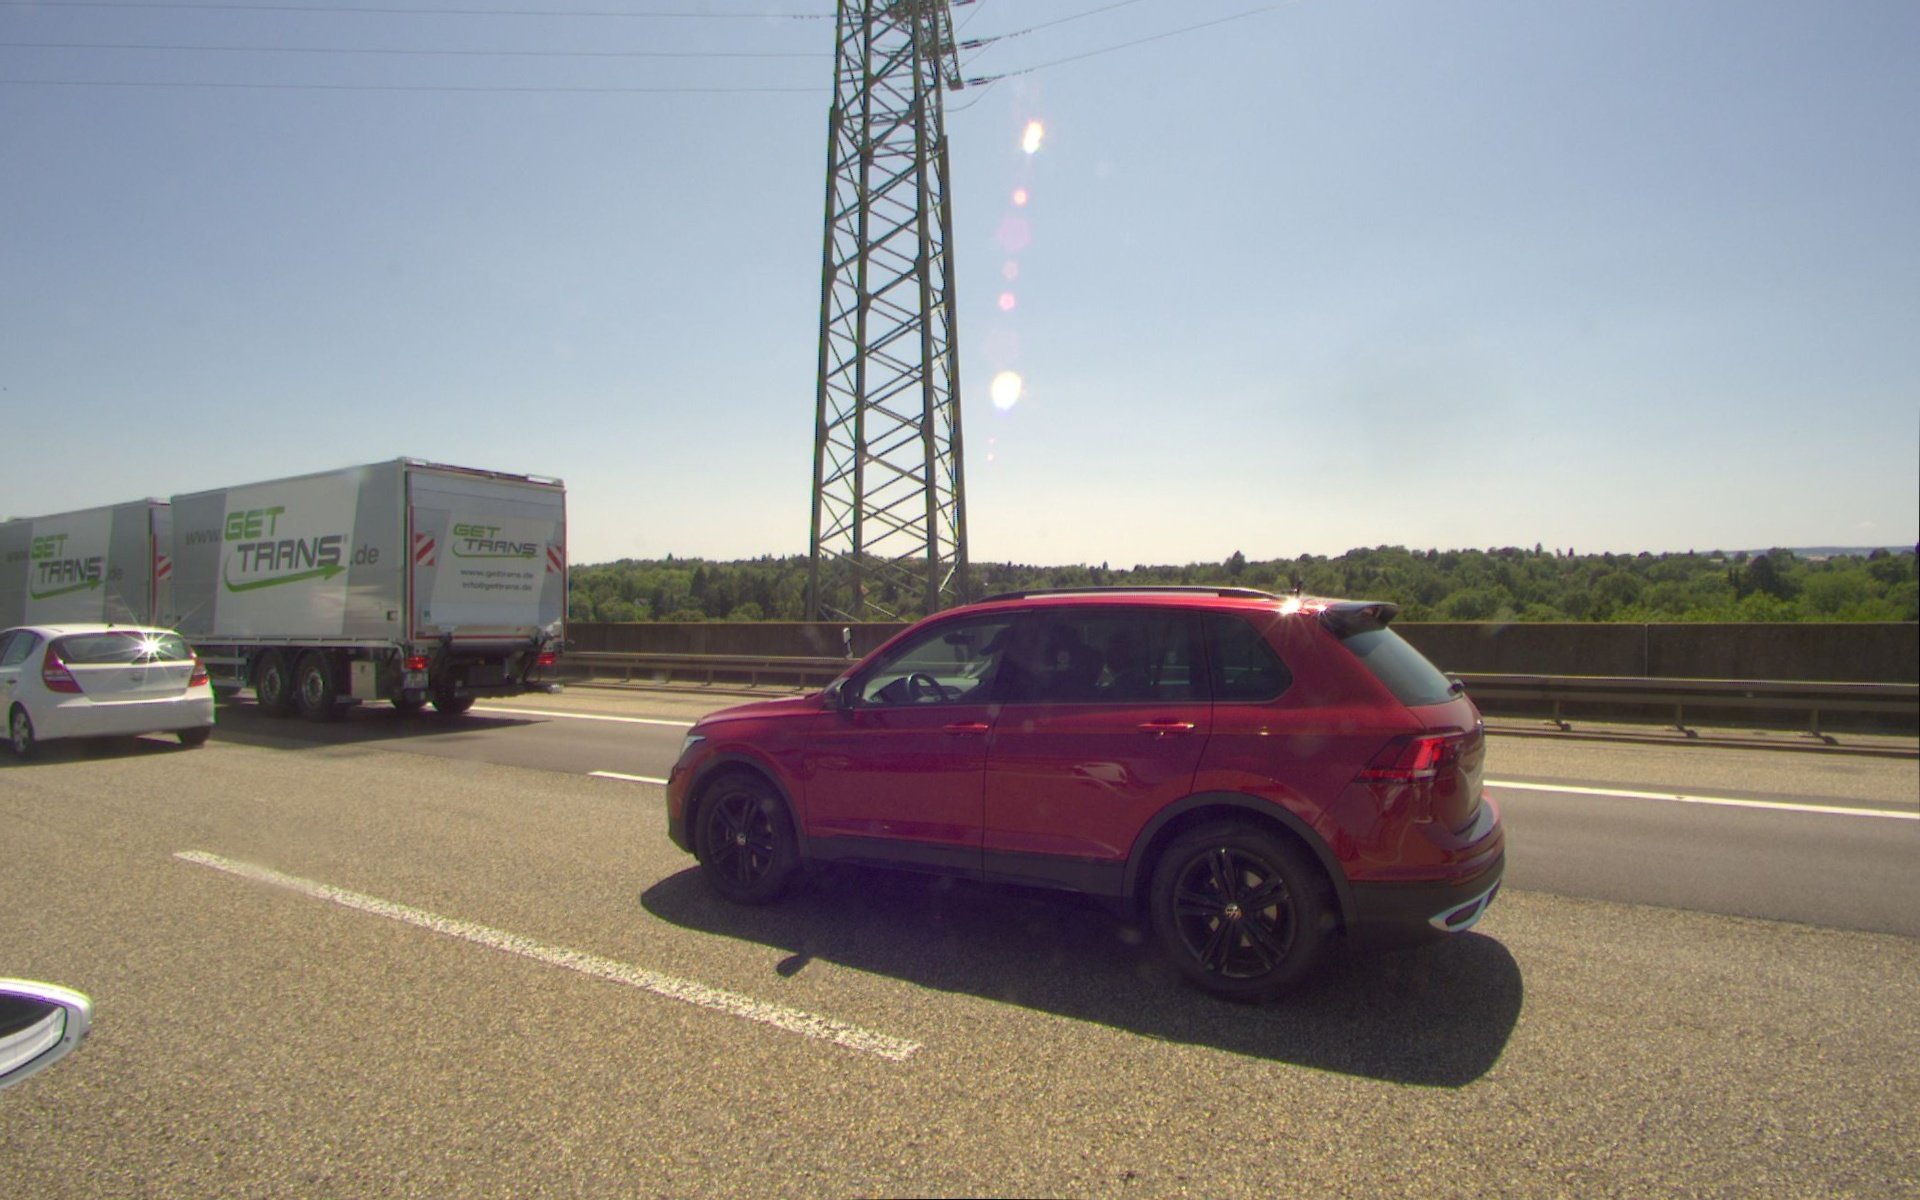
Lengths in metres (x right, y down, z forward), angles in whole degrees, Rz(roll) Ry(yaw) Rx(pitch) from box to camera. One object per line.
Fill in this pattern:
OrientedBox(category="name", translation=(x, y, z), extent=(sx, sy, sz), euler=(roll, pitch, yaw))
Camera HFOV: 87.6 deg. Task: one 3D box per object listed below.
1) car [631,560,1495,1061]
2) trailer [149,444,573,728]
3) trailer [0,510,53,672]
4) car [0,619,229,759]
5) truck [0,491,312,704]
OrientedBox(category="car", translation=(0.387, 0.747, 5.230), extent=(4.163, 1.683, 1.772), euler=(-1, -1, 32))
OrientedBox(category="trailer", translation=(-10.056, -0.127, 16.480), extent=(7.899, 3.748, 2.693), euler=(-1, 0, 32))
OrientedBox(category="trailer", translation=(-29.423, -0.166, 28.672), extent=(8.883, 4.293, 2.860), euler=(-1, -2, 32))
OrientedBox(category="car", translation=(-11.060, 0.977, 12.439), extent=(4.231, 1.474, 1.785), euler=(-1, -1, 32))
OrientedBox(category="truck", translation=(-18.015, 0.026, 21.426), extent=(10.851, 3.695, 2.652), euler=(-1, 0, 32))
